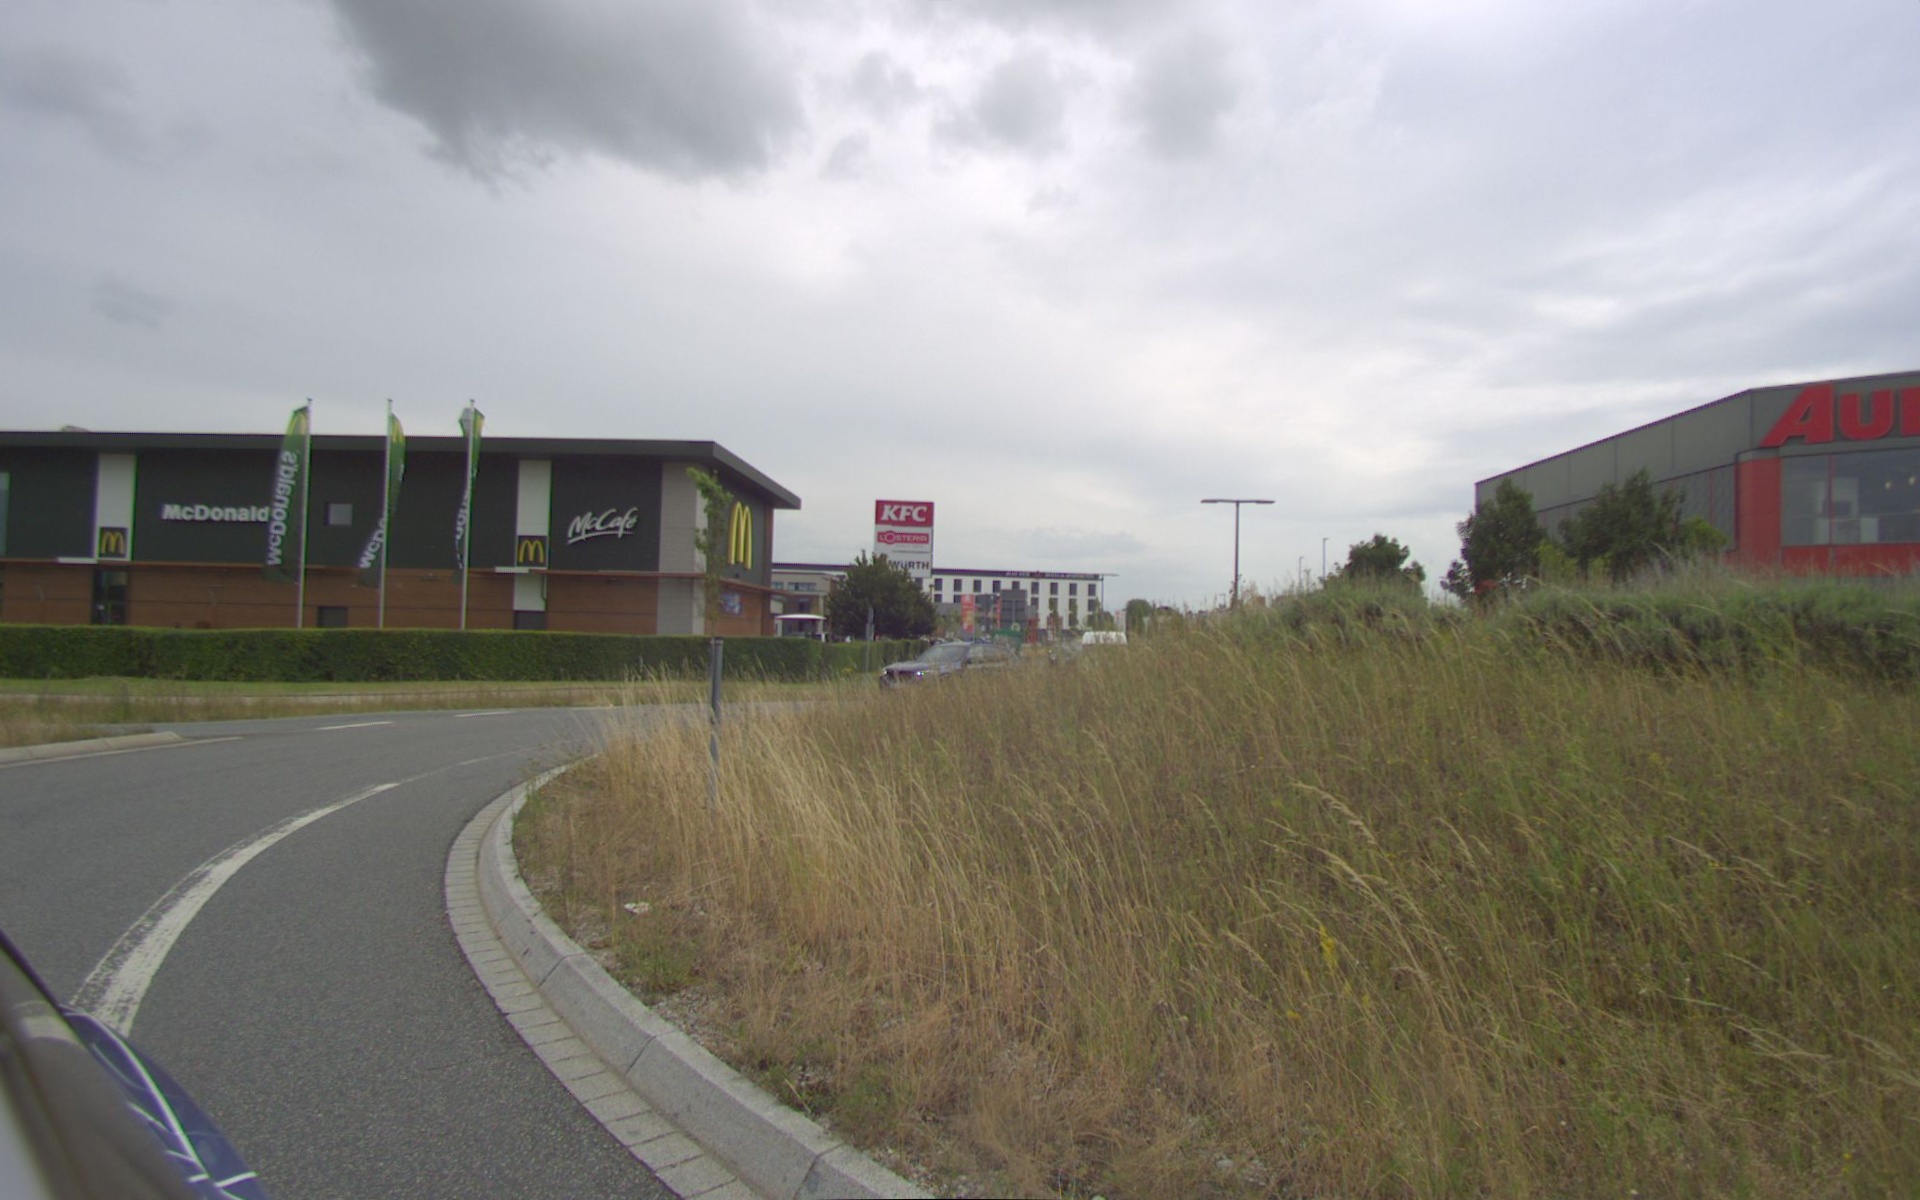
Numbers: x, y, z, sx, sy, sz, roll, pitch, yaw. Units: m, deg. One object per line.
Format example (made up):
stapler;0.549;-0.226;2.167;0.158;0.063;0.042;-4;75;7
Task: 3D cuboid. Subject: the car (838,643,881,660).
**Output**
car;-9.533;4.880;95.941;3.943;1.497;1.847;0;-1;-1

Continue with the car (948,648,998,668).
car;1.013;4.669;81.273;3.943;1.497;1.847;0;-1;-1

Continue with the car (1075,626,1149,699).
car;5.956;2.346;39.052;2.010;2.547;6.071;1;-2;16

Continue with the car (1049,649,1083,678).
car;6.503;3.890;62.553;1.844;1.620;3.995;1;-2;3

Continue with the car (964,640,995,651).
car;2.655;6.199;137.483;3.970;1.497;1.835;-1;-1;20

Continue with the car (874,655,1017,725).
car;-0.299;2.269;26.422;1.863;1.620;3.955;0;-2;33
